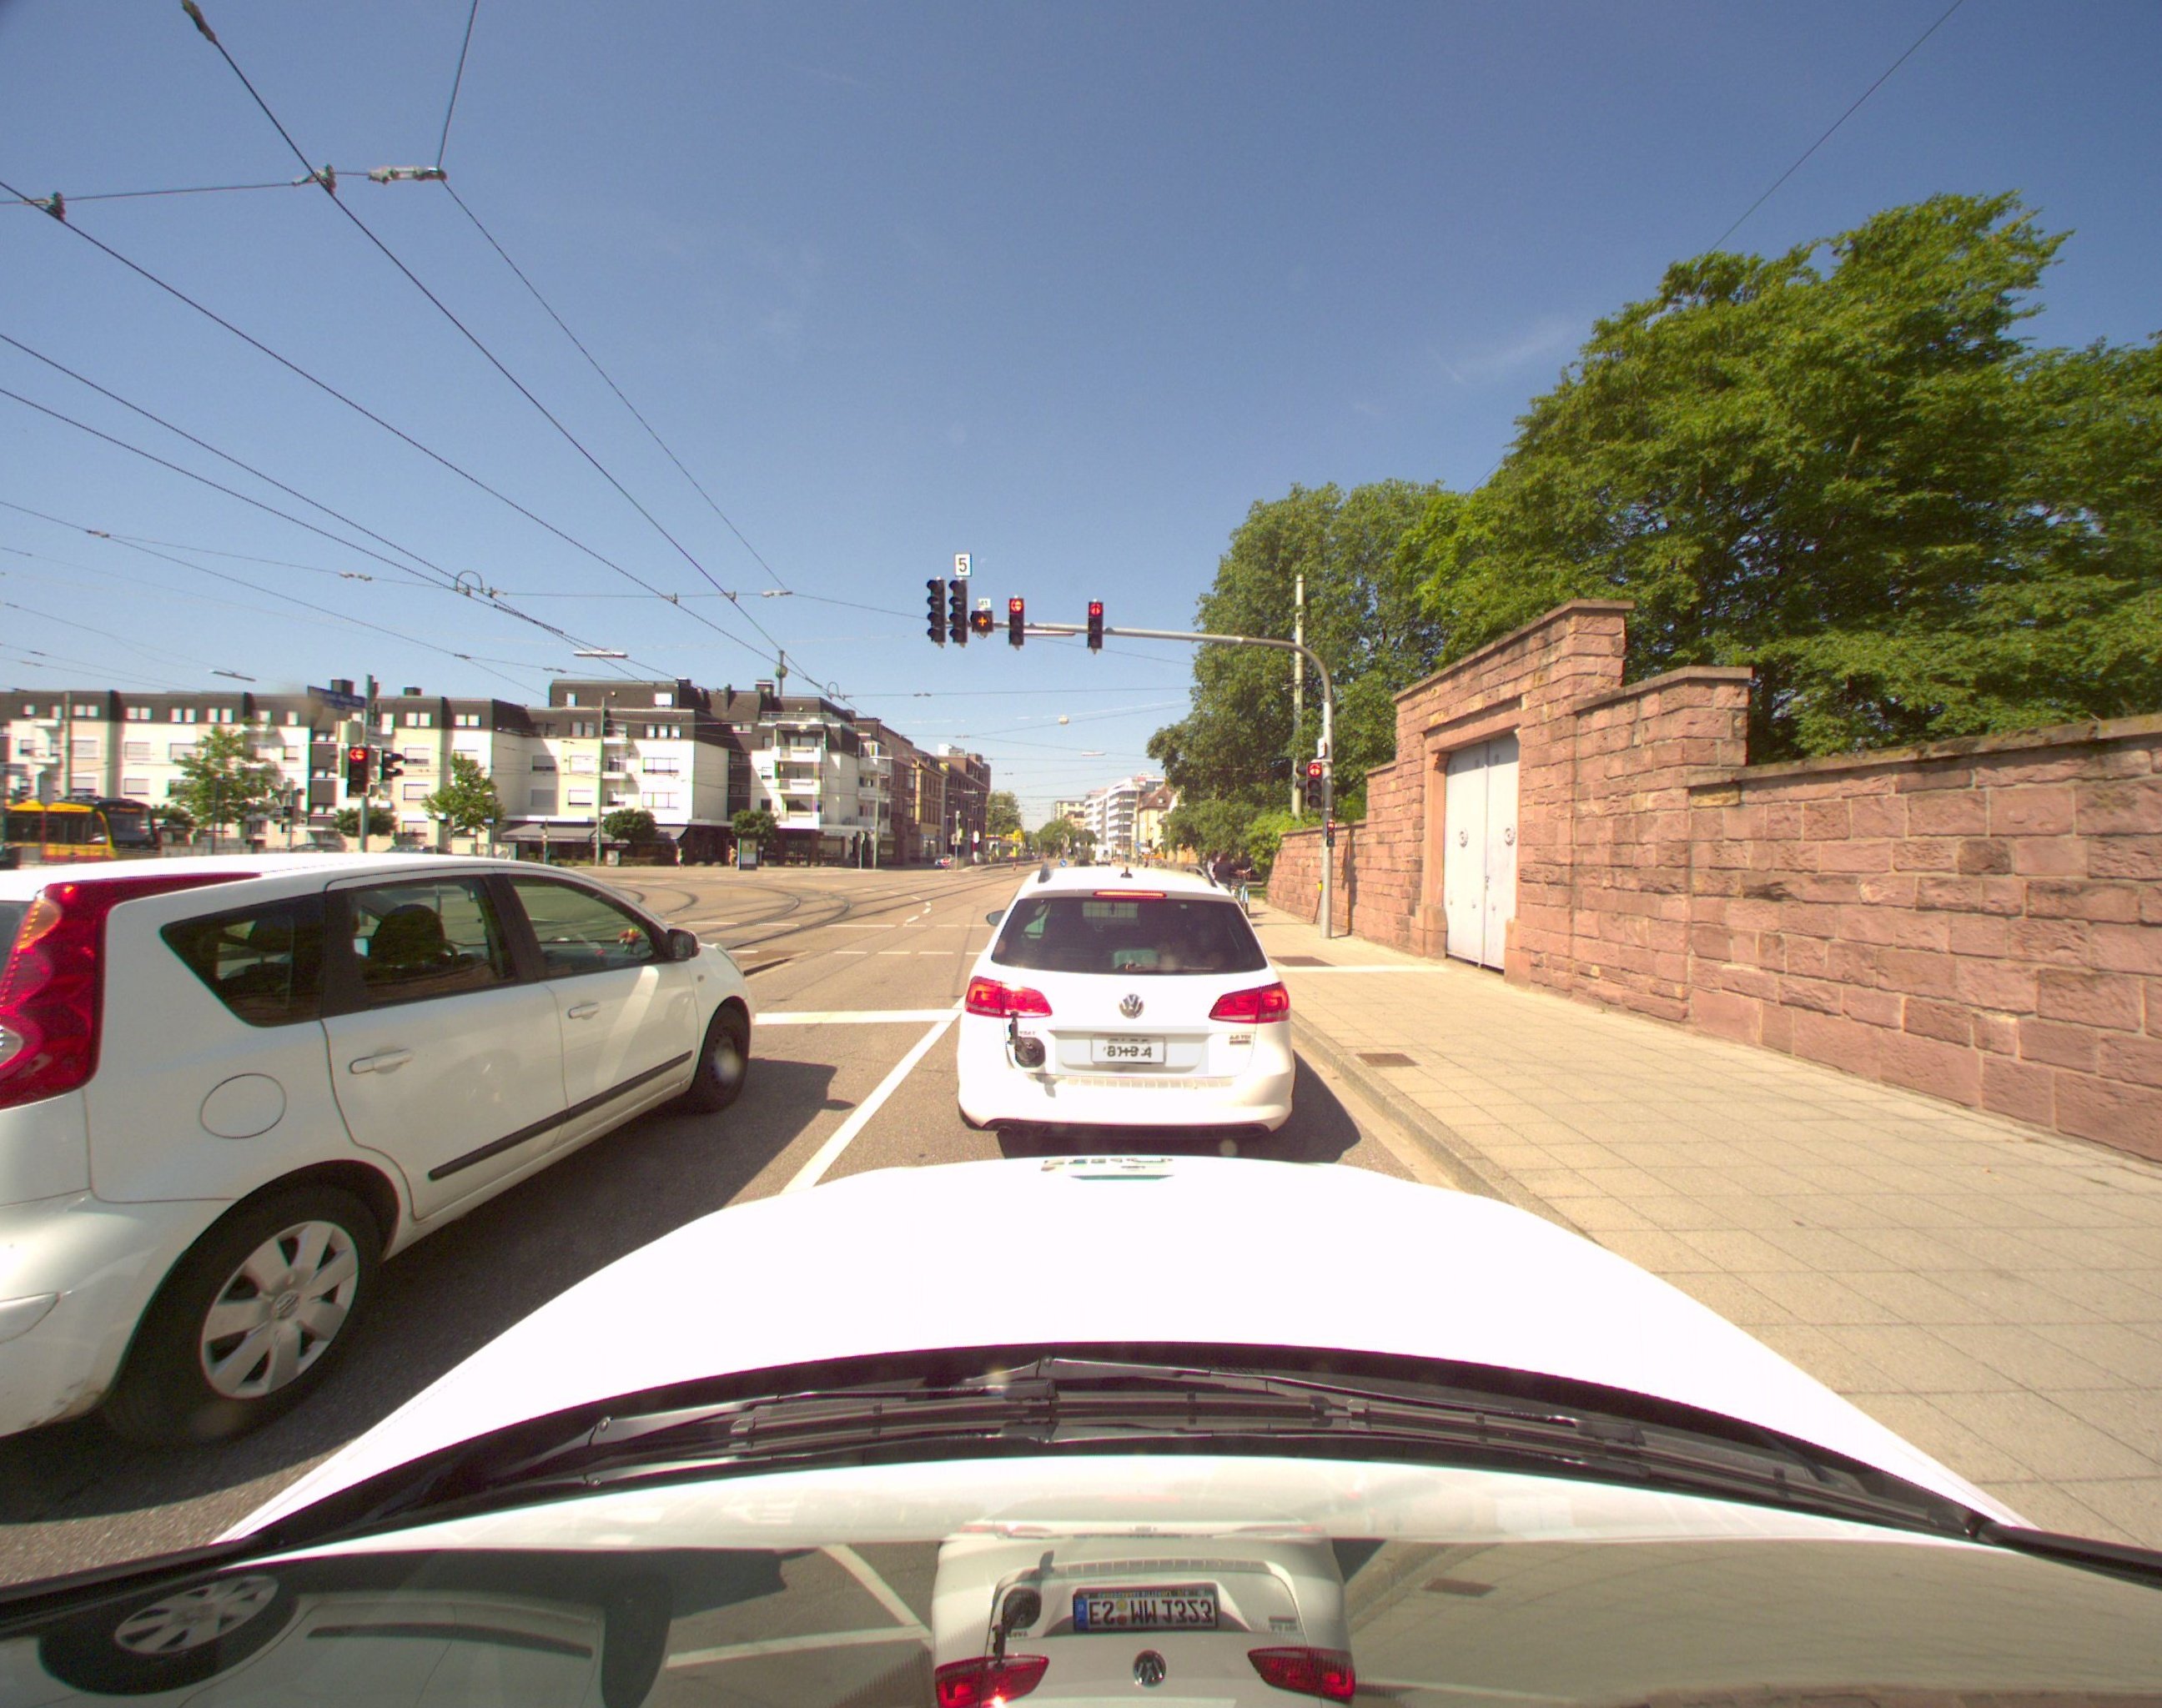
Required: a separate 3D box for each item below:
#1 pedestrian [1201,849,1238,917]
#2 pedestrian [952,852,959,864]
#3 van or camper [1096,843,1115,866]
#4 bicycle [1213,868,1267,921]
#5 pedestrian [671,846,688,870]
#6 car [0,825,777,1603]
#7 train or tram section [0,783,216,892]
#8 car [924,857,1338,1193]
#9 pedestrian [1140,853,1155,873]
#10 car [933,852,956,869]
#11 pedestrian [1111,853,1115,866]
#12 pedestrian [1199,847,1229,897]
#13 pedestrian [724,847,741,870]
[{"bbox_3d":[3.276,0.666,19.201,0.667,1.571,0.752,0,0,25],"label":"pedestrian"},{"bbox_3d":[-17.712,0.574,114.733,0.860,1.743,0.973,-1,-1,-4],"label":"pedestrian"},{"bbox_3d":[3.493,0.104,115.881,2.557,3.093,5.706,-1,-1,2],"label":"van or camper"},{"bbox_3d":[3.747,0.905,19.052,0.701,1.090,2.038,-1,1,27],"label":"bicycle"},{"bbox_3d":[-28.952,0.293,58.705,0.979,1.743,0.855,0,-2,-36],"label":"pedestrian"},{"bbox_3d":[-2.910,0.710,3.543,1.636,1.566,3.805,-1,1,1],"label":"car"},{"bbox_3d":[-54.717,-0.681,41.446,16.149,5.150,4.735,-1,-1,0],"label":"train or tram section"},{"bbox_3d":[0.275,0.751,5.556,1.801,1.448,4.001,0,0,1],"label":"car"},{"bbox_3d":[5.617,0.769,69.055,0.962,1.743,0.870,-2,-2,36],"label":"pedestrian"},{"bbox_3d":[-13.697,0.693,81.769,1.736,1.618,3.997,-1,-1,-1],"label":"car"},{"bbox_3d":[5.964,1.078,152.168,0.687,2.325,1.233,-1,-1,3],"label":"pedestrian"},{"bbox_3d":[4.529,0.623,27.831,0.948,1.651,0.976,-1,-1,6],"label":"pedestrian"},{"bbox_3d":[-26.416,0.349,61.736,0.980,1.743,0.854,0,-2,-42],"label":"pedestrian"}]
